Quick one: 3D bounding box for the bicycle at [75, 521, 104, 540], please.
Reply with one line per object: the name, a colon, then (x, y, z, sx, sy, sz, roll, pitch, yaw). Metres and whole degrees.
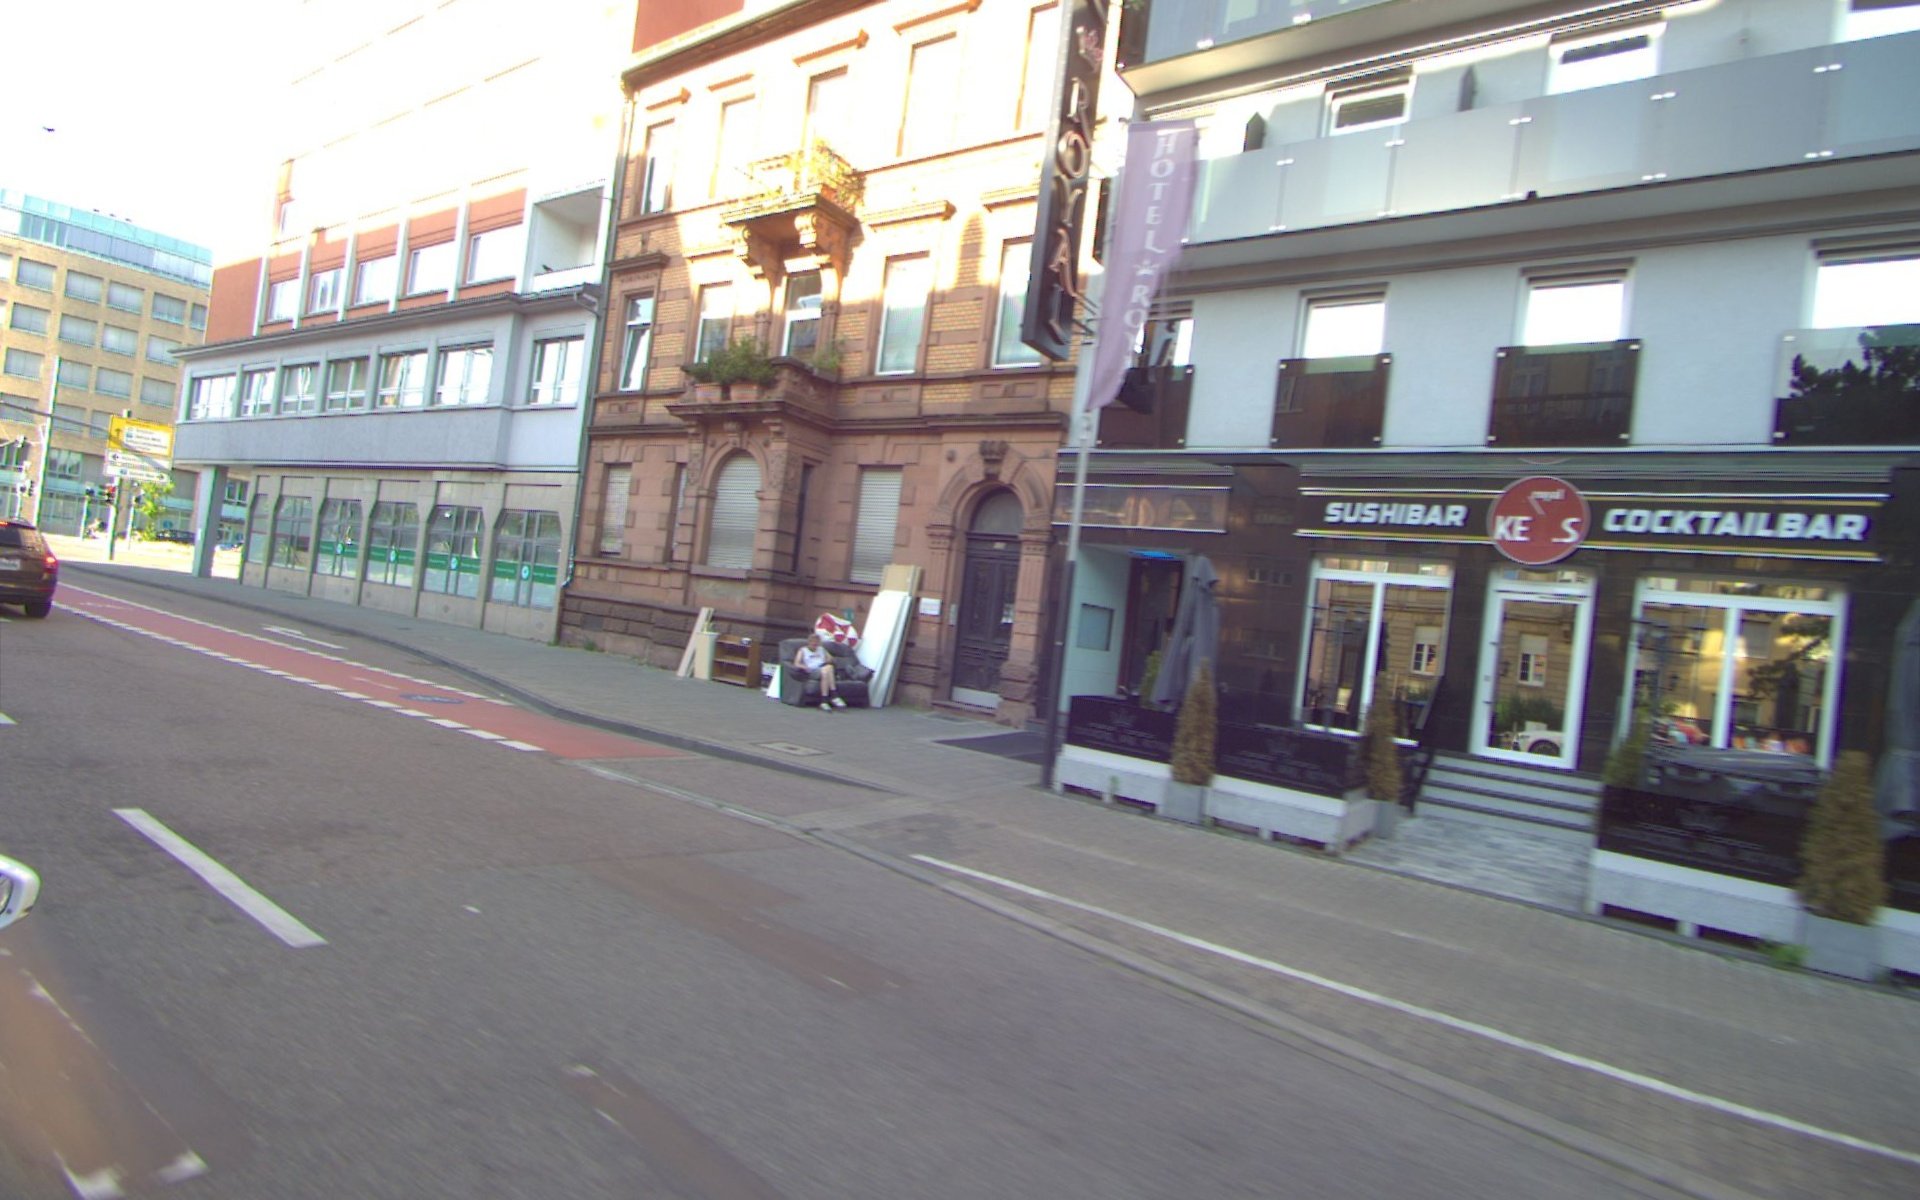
bicycle: (-65.947, -5.271, 76.255, 0.468, 1.186, 1.517, 6, -2, 42)

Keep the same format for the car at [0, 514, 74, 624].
car: (-15.316, -0.637, 15.381, 4.094, 1.474, 1.709, 6, -2, 36)

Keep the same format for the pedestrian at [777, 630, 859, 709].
pedestrian: (-2.174, 1.062, 15.395, 0.931, 1.055, 0.691, 6, -1, 39)

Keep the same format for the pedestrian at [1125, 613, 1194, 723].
pedestrian: (3.219, 1.100, 16.186, 0.682, 1.662, 0.707, 6, -1, 35)

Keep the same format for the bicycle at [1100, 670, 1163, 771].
bicycle: (2.226, 1.513, 12.942, 0.479, 1.125, 1.425, 7, 1, 18)

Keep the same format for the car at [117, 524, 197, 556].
car: (-60.381, -4.488, 75.675, 1.970, 1.633, 4.230, 6, -2, 37)

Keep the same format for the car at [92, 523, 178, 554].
car: (-63.195, -4.706, 77.130, 1.968, 1.616, 4.654, 6, -2, 33)
